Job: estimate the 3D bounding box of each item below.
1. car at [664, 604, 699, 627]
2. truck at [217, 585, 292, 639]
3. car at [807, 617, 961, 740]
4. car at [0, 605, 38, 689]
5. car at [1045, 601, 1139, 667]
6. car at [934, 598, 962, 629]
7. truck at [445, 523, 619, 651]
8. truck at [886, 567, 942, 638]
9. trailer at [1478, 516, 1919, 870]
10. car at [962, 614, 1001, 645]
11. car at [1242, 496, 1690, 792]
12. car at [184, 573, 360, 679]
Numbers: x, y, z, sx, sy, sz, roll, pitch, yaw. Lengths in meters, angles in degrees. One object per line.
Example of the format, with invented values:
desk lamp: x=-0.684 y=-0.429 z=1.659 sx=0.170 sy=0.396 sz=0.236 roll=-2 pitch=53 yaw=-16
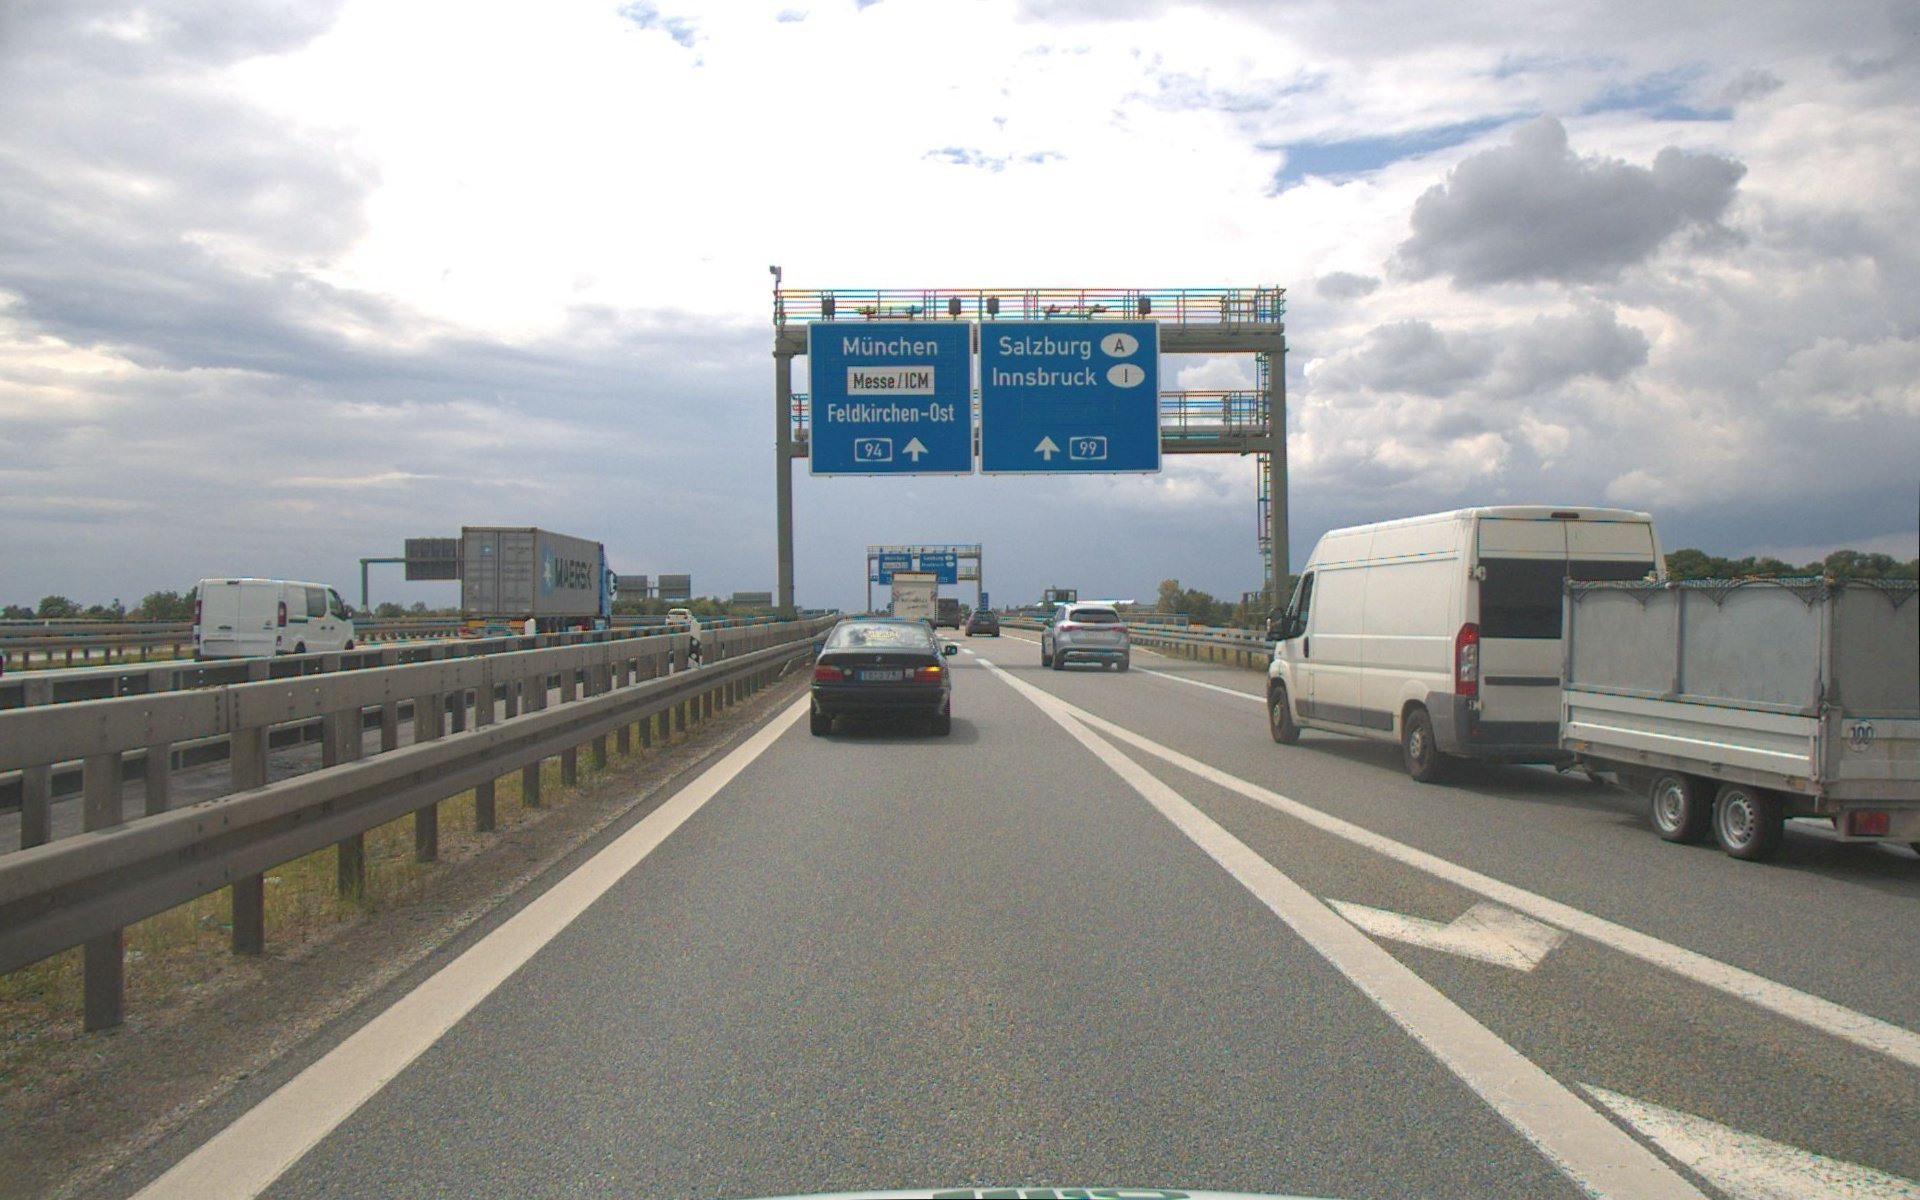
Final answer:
car: x=-19.266 y=1.062 z=114.463 sx=1.791 sy=1.590 sz=3.999 roll=0 pitch=0 yaw=-1
truck: x=-49.615 y=0.865 z=116.458 sx=2.980 sy=3.672 sz=5.891 roll=1 pitch=0 yaw=-3
car: x=-0.869 y=0.883 z=20.354 sx=1.669 sy=1.303 sz=4.365 roll=1 pitch=0 yaw=-1
car: x=-17.605 y=0.803 z=28.003 sx=1.761 sy=1.444 sz=3.999 roll=1 pitch=0 yaw=-1
car: x=3.251 y=0.822 z=41.505 sx=1.783 sy=1.541 sz=3.997 roll=1 pitch=0 yaw=-4
car: x=-0.935 y=1.017 z=124.975 sx=1.868 sy=2.301 sz=4.646 roll=1 pitch=0 yaw=-3
truck: x=-15.517 y=-0.387 z=61.618 sx=3.120 sy=4.089 sz=16.063 roll=1 pitch=0 yaw=-3
truck: x=-2.307 y=0.228 z=80.181 sx=2.517 sy=3.181 sz=8.629 roll=1 pitch=-2 yaw=-2
trailer: x=5.677 y=0.556 z=12.000 sx=1.820 sy=2.049 sz=4.622 roll=1 pitch=0 yaw=-8
car: x=1.148 y=1.572 z=90.022 sx=1.847 sy=1.579 sz=3.998 roll=1 pitch=0 yaw=-3
car: x=4.862 y=0.391 z=17.160 sx=2.074 sy=2.497 sz=6.141 roll=1 pitch=0 yaw=-8
car: x=-14.278 y=0.511 z=34.602 sx=1.953 sy=2.049 sz=4.372 roll=1 pitch=0 yaw=-2
